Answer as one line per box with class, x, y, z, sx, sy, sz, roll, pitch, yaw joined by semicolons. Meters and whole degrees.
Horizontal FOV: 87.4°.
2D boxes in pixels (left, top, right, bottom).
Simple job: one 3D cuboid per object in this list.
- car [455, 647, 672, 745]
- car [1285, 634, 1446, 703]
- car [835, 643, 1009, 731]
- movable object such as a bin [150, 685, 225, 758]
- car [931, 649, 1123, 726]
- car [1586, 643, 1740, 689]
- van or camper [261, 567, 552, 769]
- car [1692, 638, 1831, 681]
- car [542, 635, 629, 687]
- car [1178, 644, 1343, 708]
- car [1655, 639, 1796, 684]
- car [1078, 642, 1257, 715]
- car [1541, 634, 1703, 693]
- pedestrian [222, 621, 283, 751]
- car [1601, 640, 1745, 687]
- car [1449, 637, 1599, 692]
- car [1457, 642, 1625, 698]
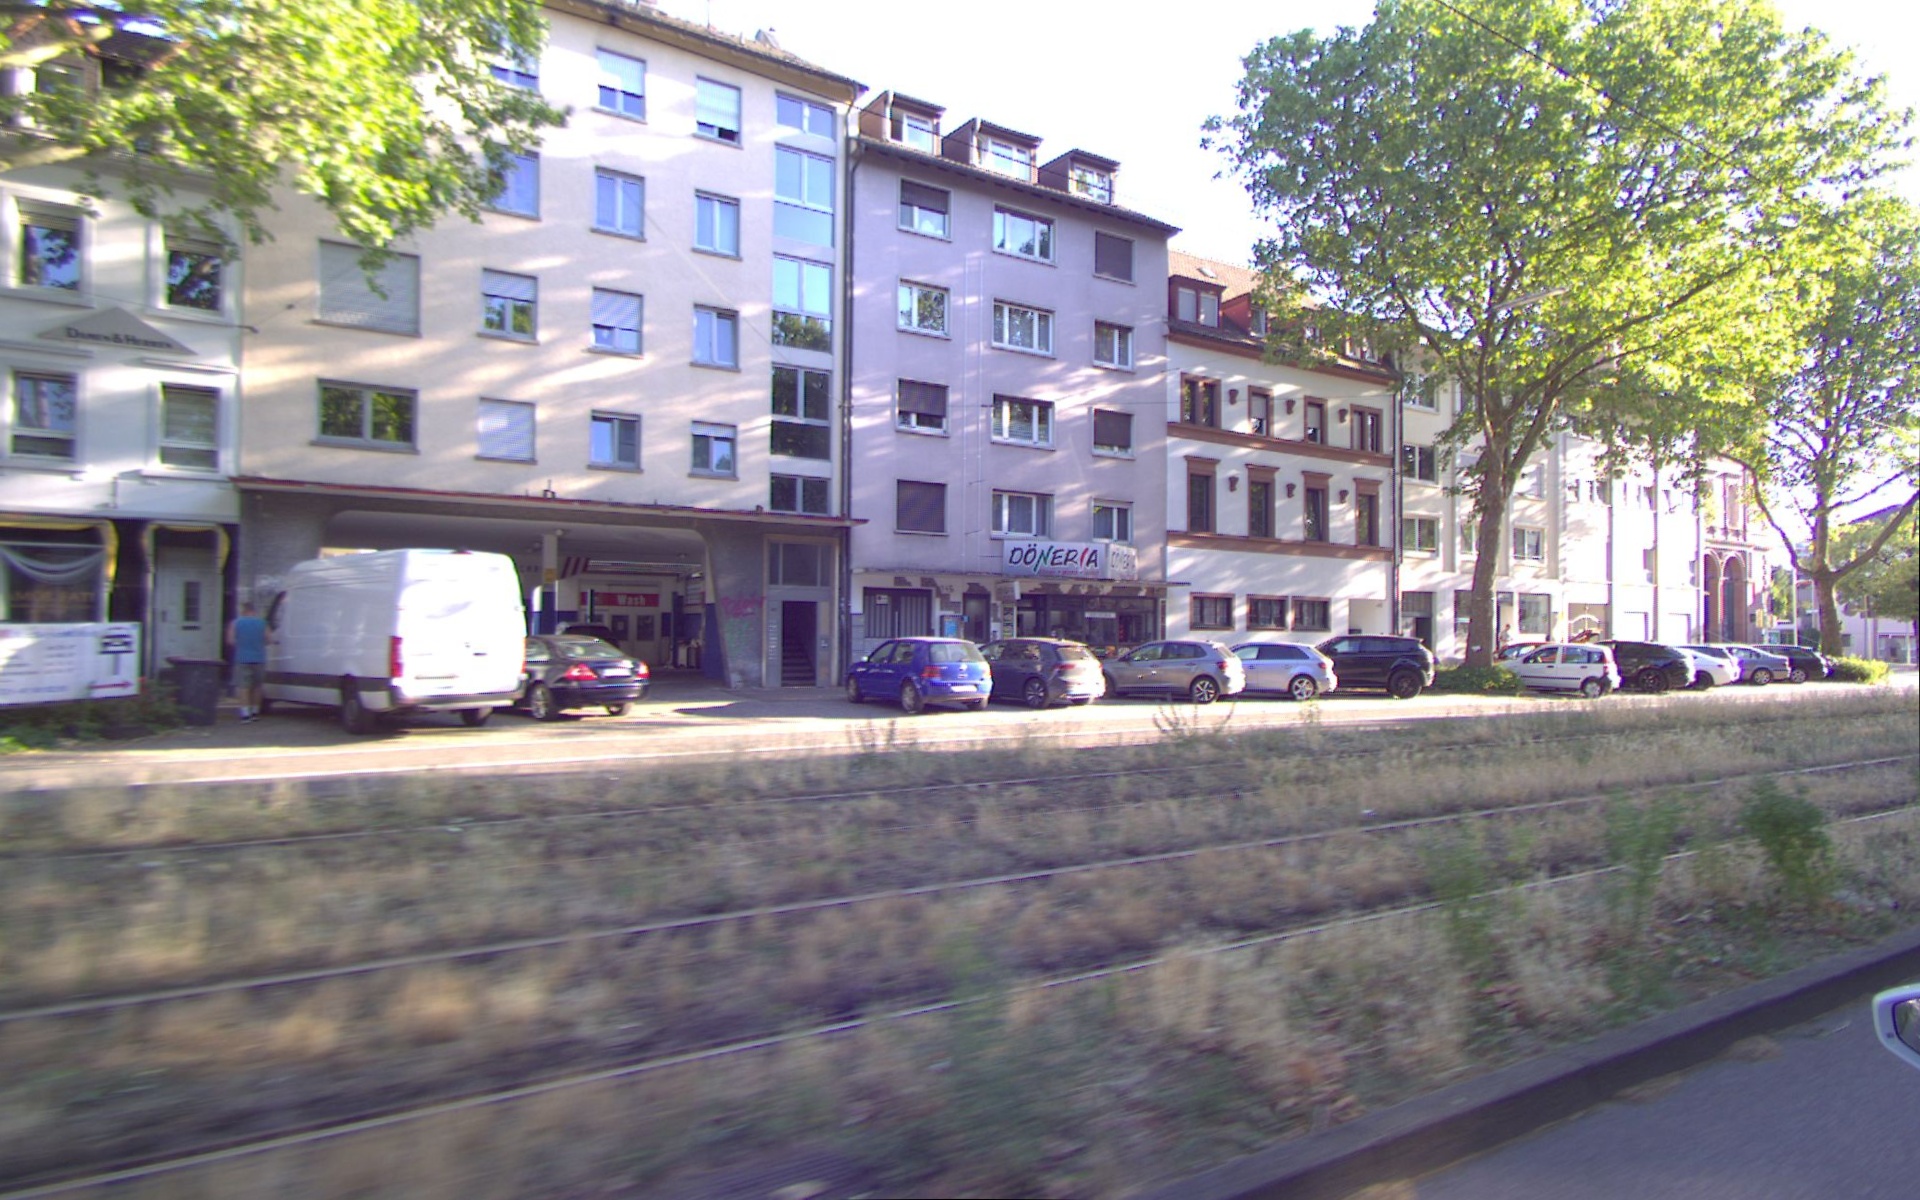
car;-7.168;1.624;18.029;3.939;1.510;1.991;-2;-2;39
car;10.951;1.814;27.372;3.921;1.683;2.000;0;-1;20
car;-0.889;1.711;20.810;1.838;1.439;3.964;1;0;-33
movable object such as a bin;-12.092;1.881;15.719;0.862;1.036;0.732;2;-3;-42
car;1.433;1.865;22.369;3.945;1.511;1.940;-2;-3;43
car;24.414;2.261;35.047;4.126;1.351;1.721;1;0;25
van or camper;-9.028;0.982;16.102;5.880;2.681;2.168;-1;-2;41
car;31.814;2.329;39.994;3.920;1.499;1.818;1;0;18
car;-12.112;1.920;32.348;1.977;1.576;3.968;1;-3;-30
car;7.652;1.906;25.784;3.920;1.404;1.913;0;0;16
car;29.175;2.323;38.402;3.921;1.460;1.722;1;0;20
car;5.030;1.844;24.362;3.926;1.441;1.754;1;0;27
car;21.801;2.127;33.221;4.293;1.809;1.988;-3;-4;35
pedestrian;-11.433;1.363;16.237;0.609;2.040;0.648;-2;-3;41
car;26.174;2.302;37.008;3.920;1.460;1.802;1;0;18
car;18.222;2.039;32.537;3.941;1.499;1.769;1;0;41
car;17.539;2.060;30.404;4.291;1.468;1.654;0;-2;35
